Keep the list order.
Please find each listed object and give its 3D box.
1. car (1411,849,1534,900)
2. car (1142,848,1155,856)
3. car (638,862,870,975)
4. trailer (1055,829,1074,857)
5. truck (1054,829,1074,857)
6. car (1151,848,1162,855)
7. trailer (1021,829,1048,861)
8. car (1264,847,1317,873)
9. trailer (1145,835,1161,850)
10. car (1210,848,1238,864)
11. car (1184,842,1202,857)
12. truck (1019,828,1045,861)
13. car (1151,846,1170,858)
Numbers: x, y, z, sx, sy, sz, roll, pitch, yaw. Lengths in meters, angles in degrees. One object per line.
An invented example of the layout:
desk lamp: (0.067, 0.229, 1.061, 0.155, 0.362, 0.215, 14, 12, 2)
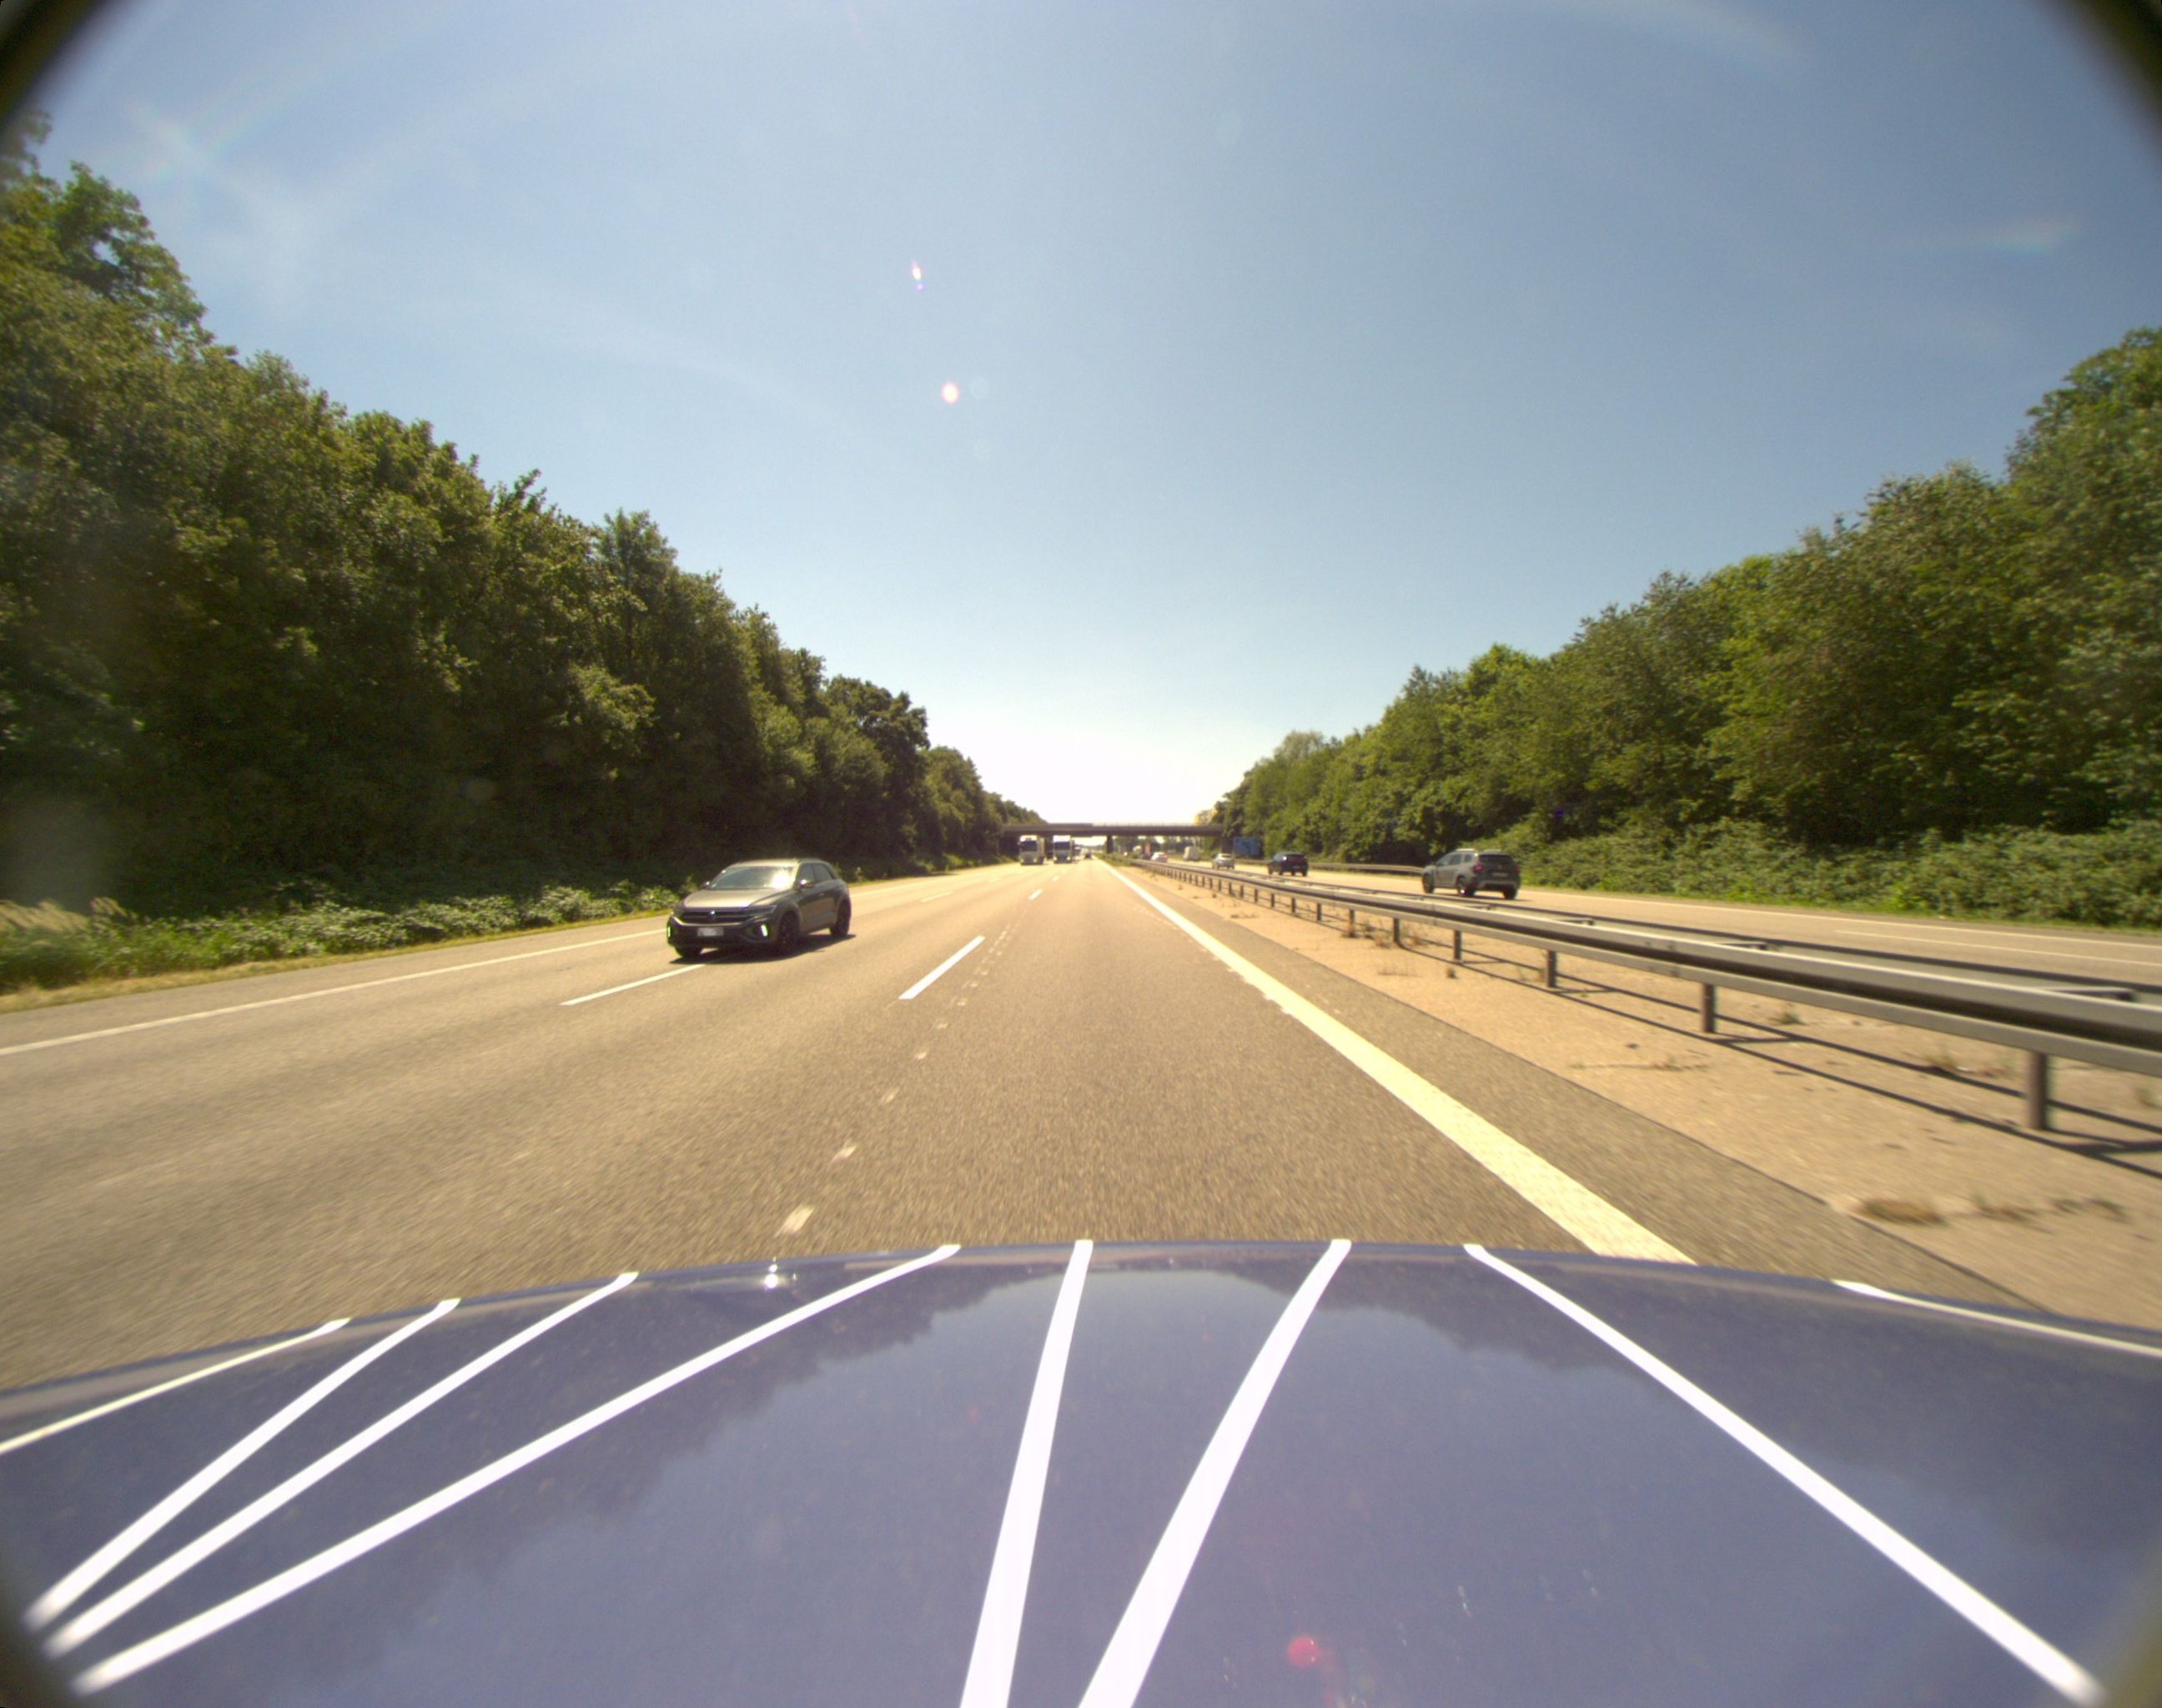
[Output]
car: (13.691, 0.637, 26.960, 1.825, 1.621, 4.797, 1, 1, 0)
car: (11.431, -0.317, 128.956, 1.843, 1.375, 4.427, 0, 1, 1)
car: (-5.459, 0.968, 13.506, 1.904, 1.523, 4.760, -2, 0, 2)
trailer: (-2.508, -1.671, 119.842, 2.684, 4.046, 13.833, -2, 0, 0)
truck: (-2.472, -1.626, 112.385, 2.684, 4.046, 6.047, -2, 1, 0)
car: (15.610, -0.518, 156.968, 1.672, 1.394, 4.705, 0, 1, 0)
trailer: (-6.722, -1.271, 110.957, 3.047, 4.200, 13.833, -2, 0, 0)
car: (14.274, 0.364, 52.173, 2.280, 1.641, 4.927, 1, 1, 0)
trailer: (19.498, -3.049, 207.450, 3.225, 4.036, 12.739, 0, 1, 0)
car: (14.071, 0.175, 75.131, 1.825, 1.515, 4.822, 0, 1, 0)
car: (18.920, -0.803, 128.619, 2.092, 2.537, 6.226, 0, 1, 1)
truck: (-6.666, -1.283, 104.324, 3.055, 4.191, 6.047, -2, 1, 0)
car: (10.098, -0.293, 96.426, 1.825, 1.515, 4.822, 0, 1, 0)
